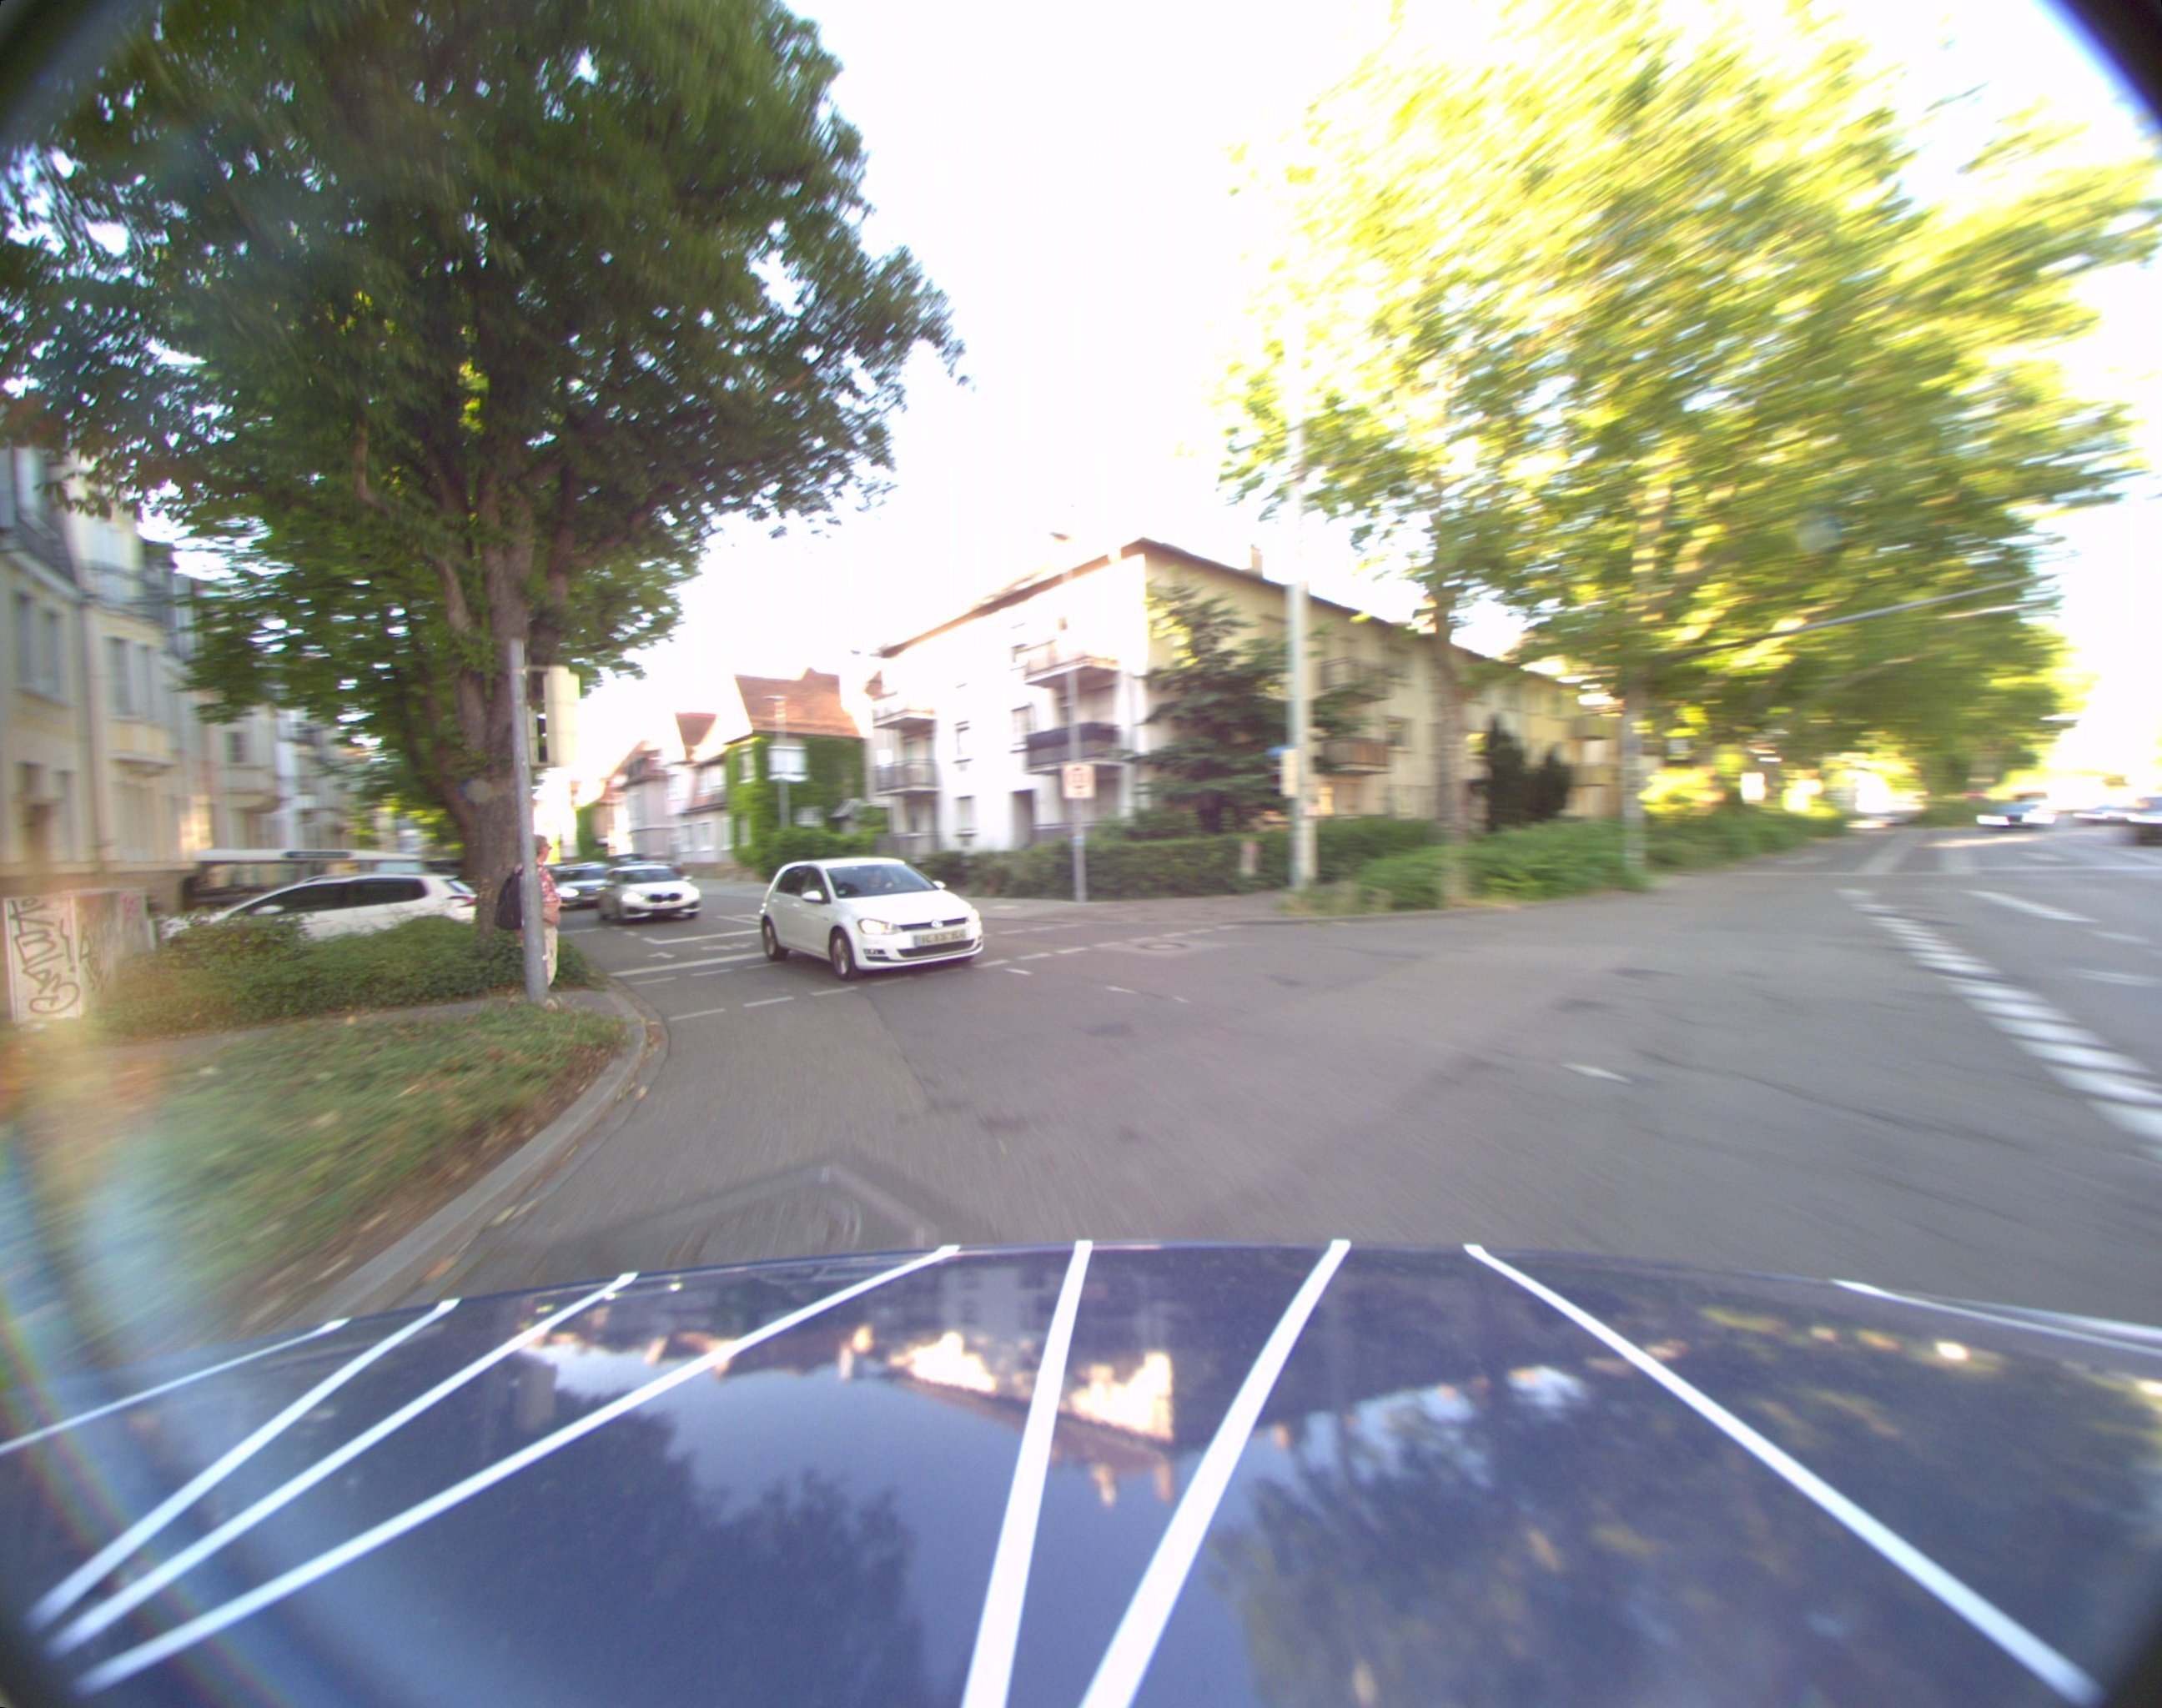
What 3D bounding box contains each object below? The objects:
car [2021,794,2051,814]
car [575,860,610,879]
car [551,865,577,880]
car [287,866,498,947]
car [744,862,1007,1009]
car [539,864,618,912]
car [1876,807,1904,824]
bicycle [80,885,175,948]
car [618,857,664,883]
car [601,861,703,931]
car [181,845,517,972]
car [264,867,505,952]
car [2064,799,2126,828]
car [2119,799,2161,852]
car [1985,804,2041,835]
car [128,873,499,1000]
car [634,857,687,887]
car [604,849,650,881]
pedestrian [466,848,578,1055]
[{"bbox_3d":[111.537,-5.830,88.767,4.007,2.279,1.874,-4,2,-42],"label":"car"},{"bbox_3d":[-40.770,1.263,63.421,1.825,1.420,4.277,-5,3,-40],"label":"car"},{"bbox_3d":[-56.887,2.007,83.585,1.825,1.420,4.277,-5,3,-40],"label":"car"},{"bbox_3d":[-21.822,1.571,24.355,4.720,2.003,1.994,-5,3,-41],"label":"car"},{"bbox_3d":[-2.973,0.908,10.379,1.847,1.442,4.099,-5,3,-40],"label":"car"},{"bbox_3d":[-18.953,1.198,28.549,1.847,1.509,4.740,-5,3,-40],"label":"car"},{"bbox_3d":[81.736,-3.929,76.733,4.007,1.587,1.874,-4,2,-42],"label":"car"},{"bbox_3d":[-21.897,1.385,17.501,0.763,1.277,2.198,-1,0,-36],"label":"bicycle"},{"bbox_3d":[-26.897,0.957,46.381,1.696,1.446,3.989,-5,3,-40],"label":"car"},{"bbox_3d":[-11.483,1.024,20.215,1.847,1.509,4.011,-4,3,-36],"label":"car"},{"bbox_3d":[-13.866,0.900,14.824,4.443,1.974,1.754,-2,4,-40],"label":"car"},{"bbox_3d":[-17.356,1.288,19.215,4.218,1.619,1.967,-5,3,-41],"label":"car"},{"bbox_3d":[60.280,-2.405,45.245,4.007,1.587,1.874,-4,2,-42],"label":"car"},{"bbox_3d":[34.448,-0.960,23.965,4.007,1.587,1.874,-3,2,-38],"label":"car"},{"bbox_3d":[51.307,-1.909,41.822,4.007,1.587,1.874,-3,2,-38],"label":"car"},{"bbox_3d":[-12.284,1.206,12.578,4.056,1.566,1.679,-3,1,-41],"label":"car"},{"bbox_3d":[-22.939,0.953,41.394,1.696,1.446,3.989,-5,3,-40],"label":"car"},{"bbox_3d":[-29.877,0.724,49.968,1.825,1.895,4.277,-5,3,-40],"label":"car"},{"bbox_3d":[-5.231,0.863,7.158,0.703,1.796,0.664,-4,3,-34],"label":"pedestrian"}]
